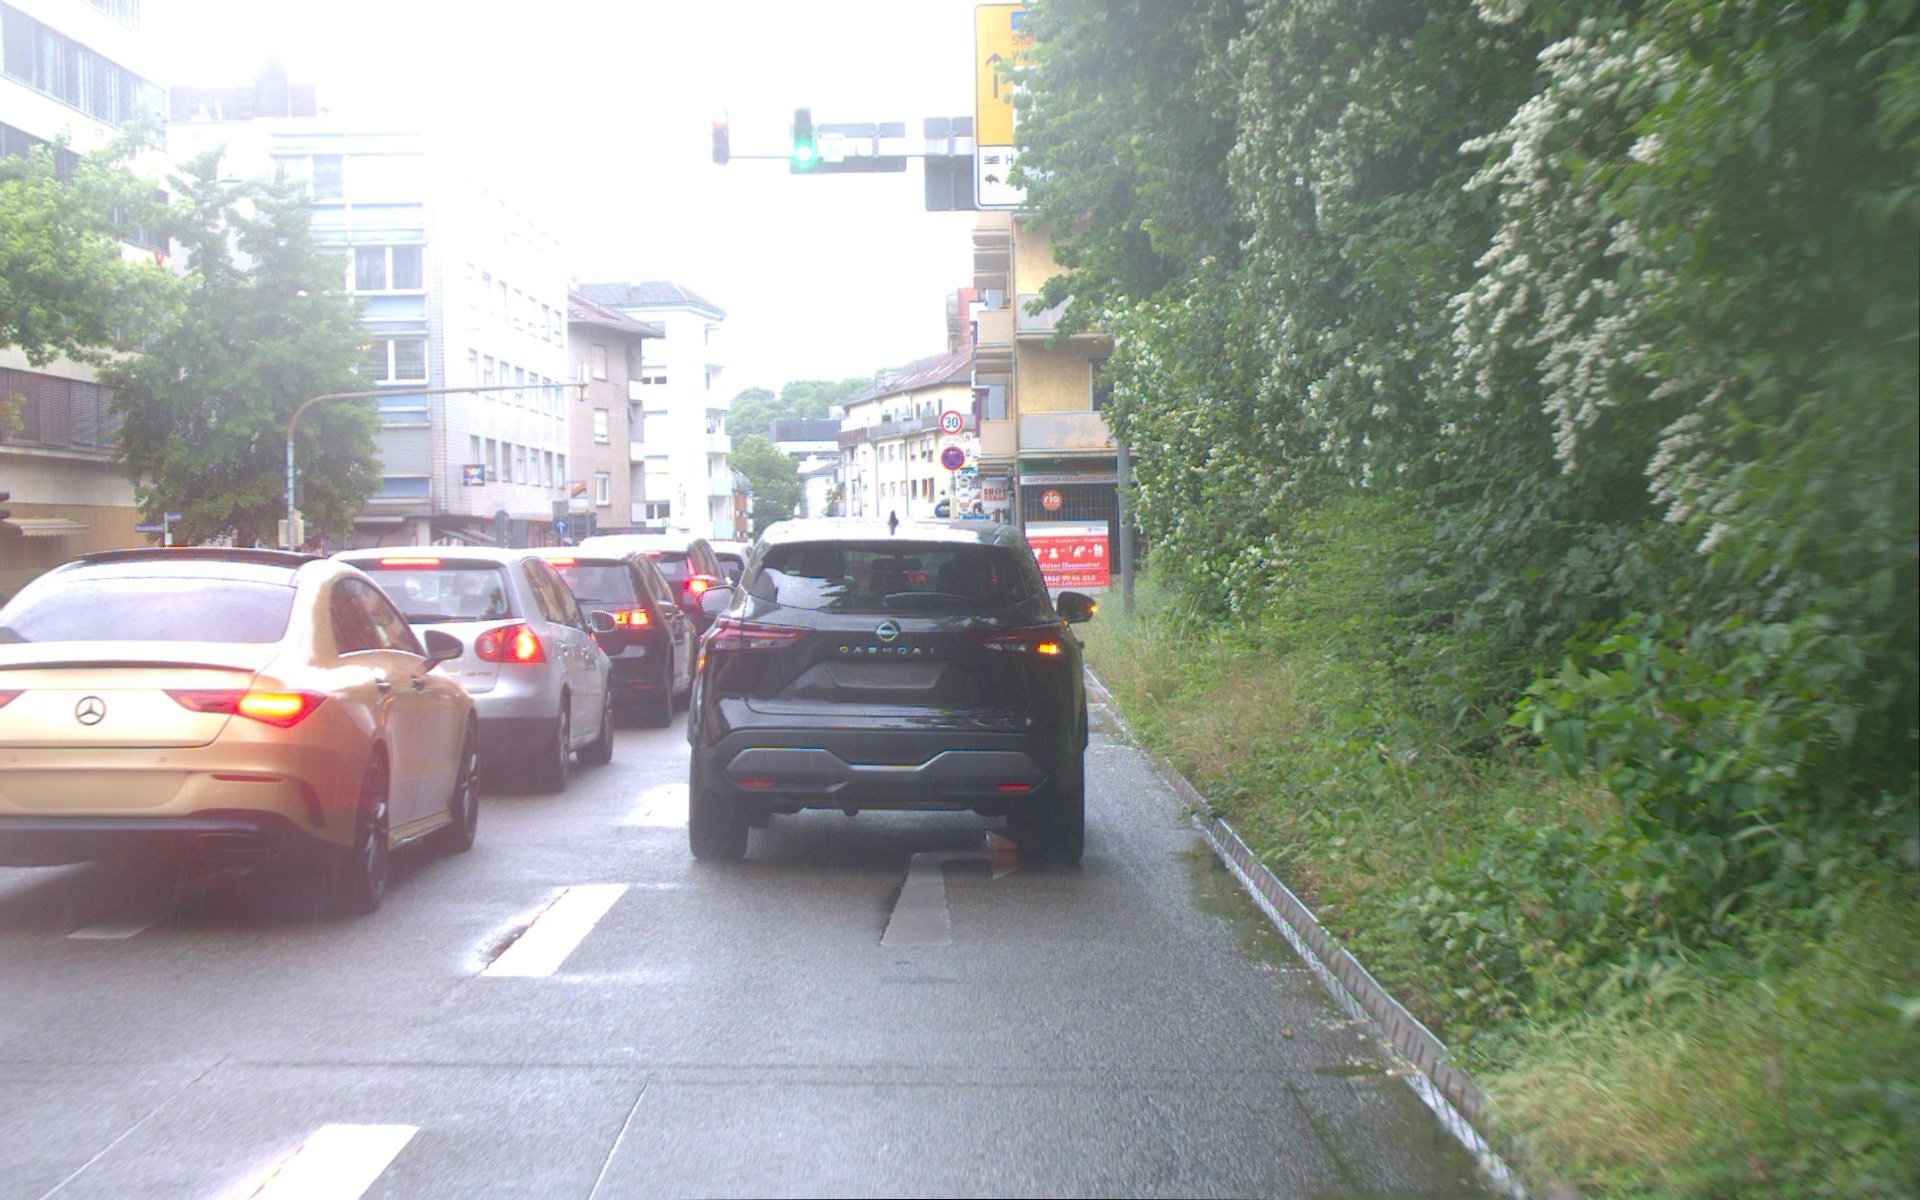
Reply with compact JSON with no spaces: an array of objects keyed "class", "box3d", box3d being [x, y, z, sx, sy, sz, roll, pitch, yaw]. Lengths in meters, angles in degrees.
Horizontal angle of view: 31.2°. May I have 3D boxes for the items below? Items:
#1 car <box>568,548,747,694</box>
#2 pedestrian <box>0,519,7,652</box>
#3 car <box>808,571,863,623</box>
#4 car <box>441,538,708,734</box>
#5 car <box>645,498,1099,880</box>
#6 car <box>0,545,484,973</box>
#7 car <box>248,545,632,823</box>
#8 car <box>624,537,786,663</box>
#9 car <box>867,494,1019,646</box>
[{"class":"car","box3d":[-3.168,0.185,36.602,1.613,1.415,3.967,-1,1,-1]},{"class":"pedestrian","box3d":[-15.028,-0.208,52.125,0.940,2.007,0.887,-3,1,-9]},{"class":"car","box3d":[-5.264,-0.147,145.699,1.993,2.007,4.000,-3,1,1]},{"class":"car","box3d":[-3.130,0.240,28.598,1.755,1.448,4.000,-1,1,0]},{"class":"car","box3d":[-0.427,0.340,16.937,1.959,1.647,4.000,0,1,-1]},{"class":"car","box3d":[-3.386,0.541,14.558,2.066,1.459,4.587,-1,2,0]},{"class":"car","box3d":[-3.103,0.436,21.284,1.744,1.482,4.162,-2,1,-1]},{"class":"car","box3d":[-3.174,-0.037,43.472,1.767,1.439,4.000,-1,1,-1]},{"class":"car","box3d":[-0.253,-0.455,48.247,1.993,2.007,4.000,-1,1,-1]}]
